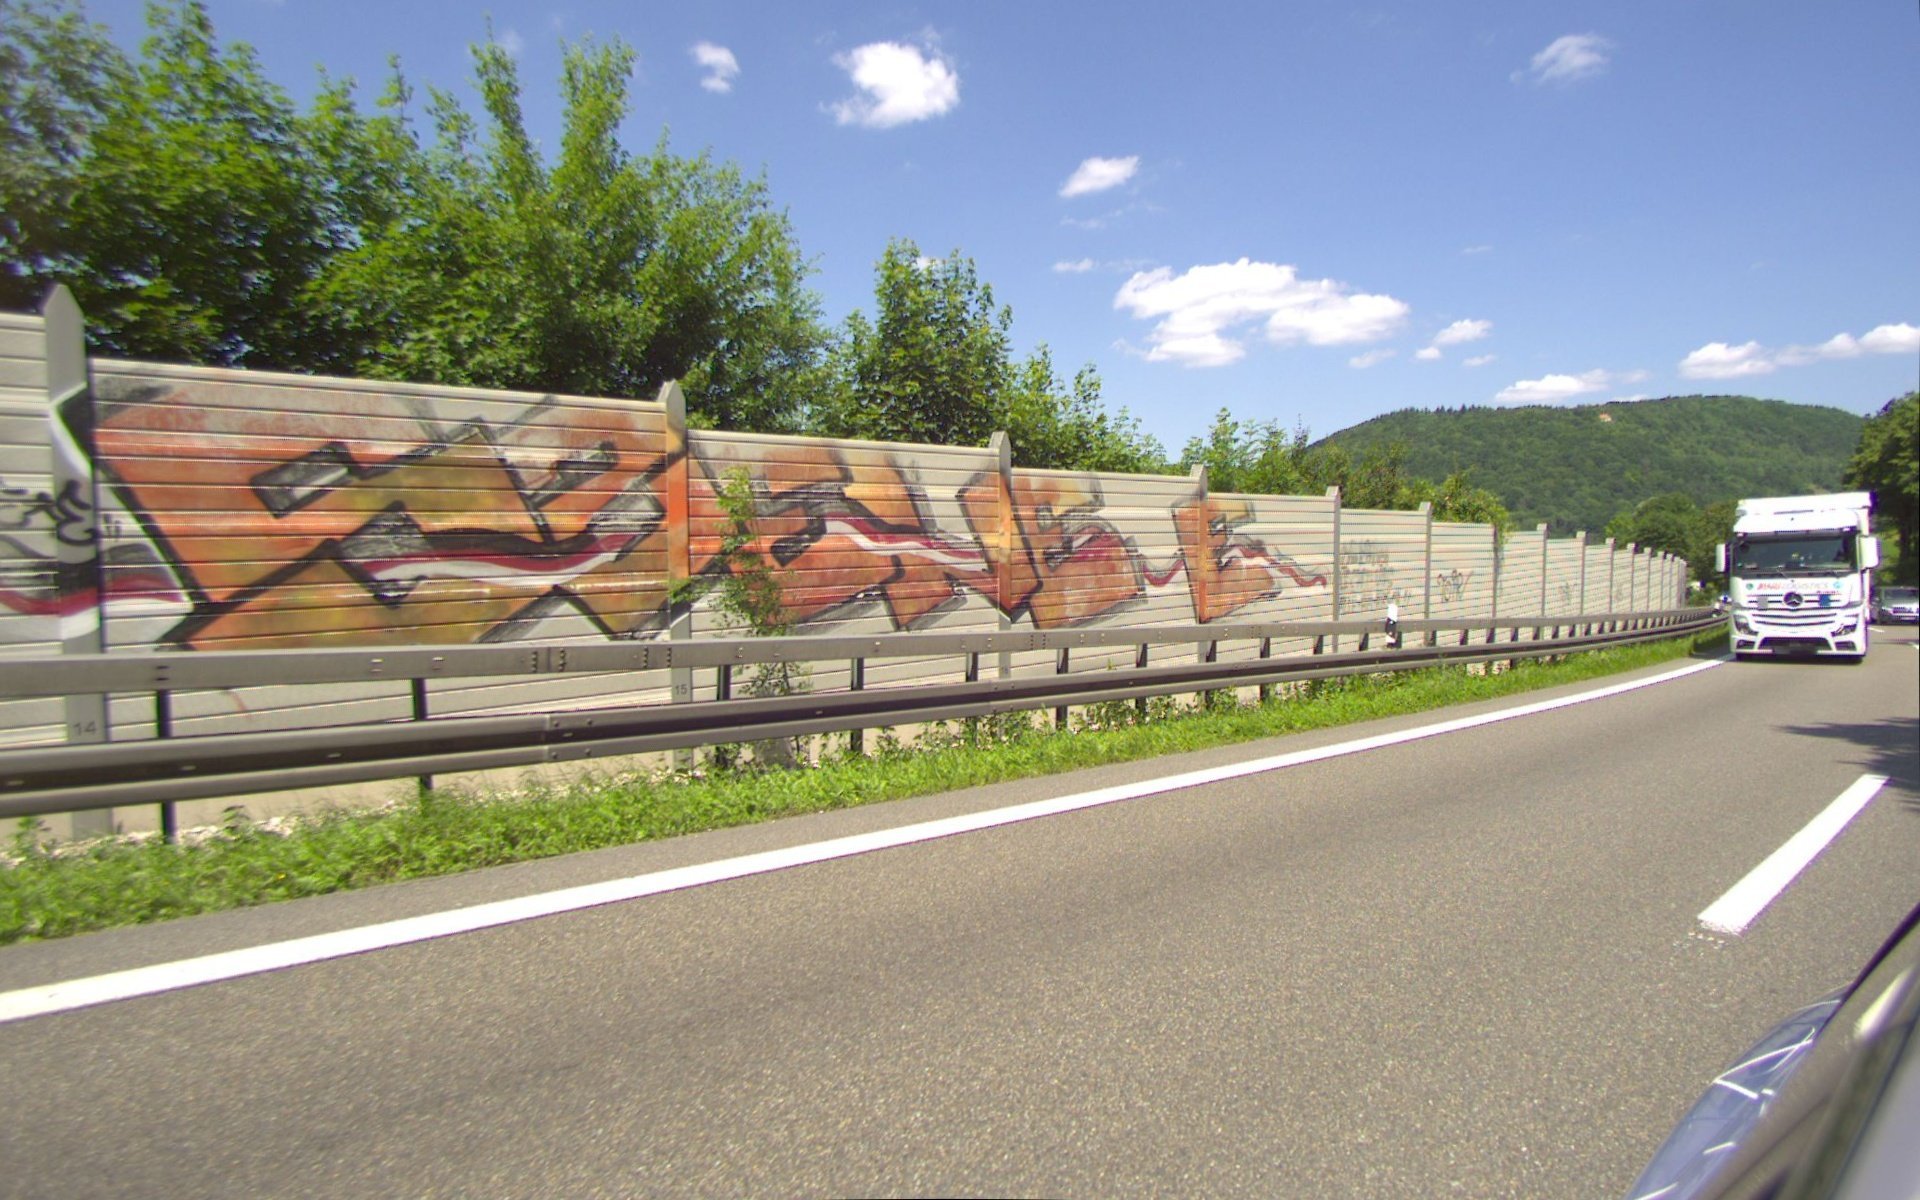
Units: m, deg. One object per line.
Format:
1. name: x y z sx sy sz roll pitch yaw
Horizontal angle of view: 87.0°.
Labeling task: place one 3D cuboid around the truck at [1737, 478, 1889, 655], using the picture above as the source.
1. truck: 24.915 -0.860 29.388 2.852 4.200 11.864 0 0 42

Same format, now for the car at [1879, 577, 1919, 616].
1. car: 47.399 -0.169 50.439 2.034 1.889 3.945 1 0 38

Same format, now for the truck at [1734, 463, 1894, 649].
1. truck: 21.746 -0.994 25.647 2.756 4.089 6.718 1 0 43
